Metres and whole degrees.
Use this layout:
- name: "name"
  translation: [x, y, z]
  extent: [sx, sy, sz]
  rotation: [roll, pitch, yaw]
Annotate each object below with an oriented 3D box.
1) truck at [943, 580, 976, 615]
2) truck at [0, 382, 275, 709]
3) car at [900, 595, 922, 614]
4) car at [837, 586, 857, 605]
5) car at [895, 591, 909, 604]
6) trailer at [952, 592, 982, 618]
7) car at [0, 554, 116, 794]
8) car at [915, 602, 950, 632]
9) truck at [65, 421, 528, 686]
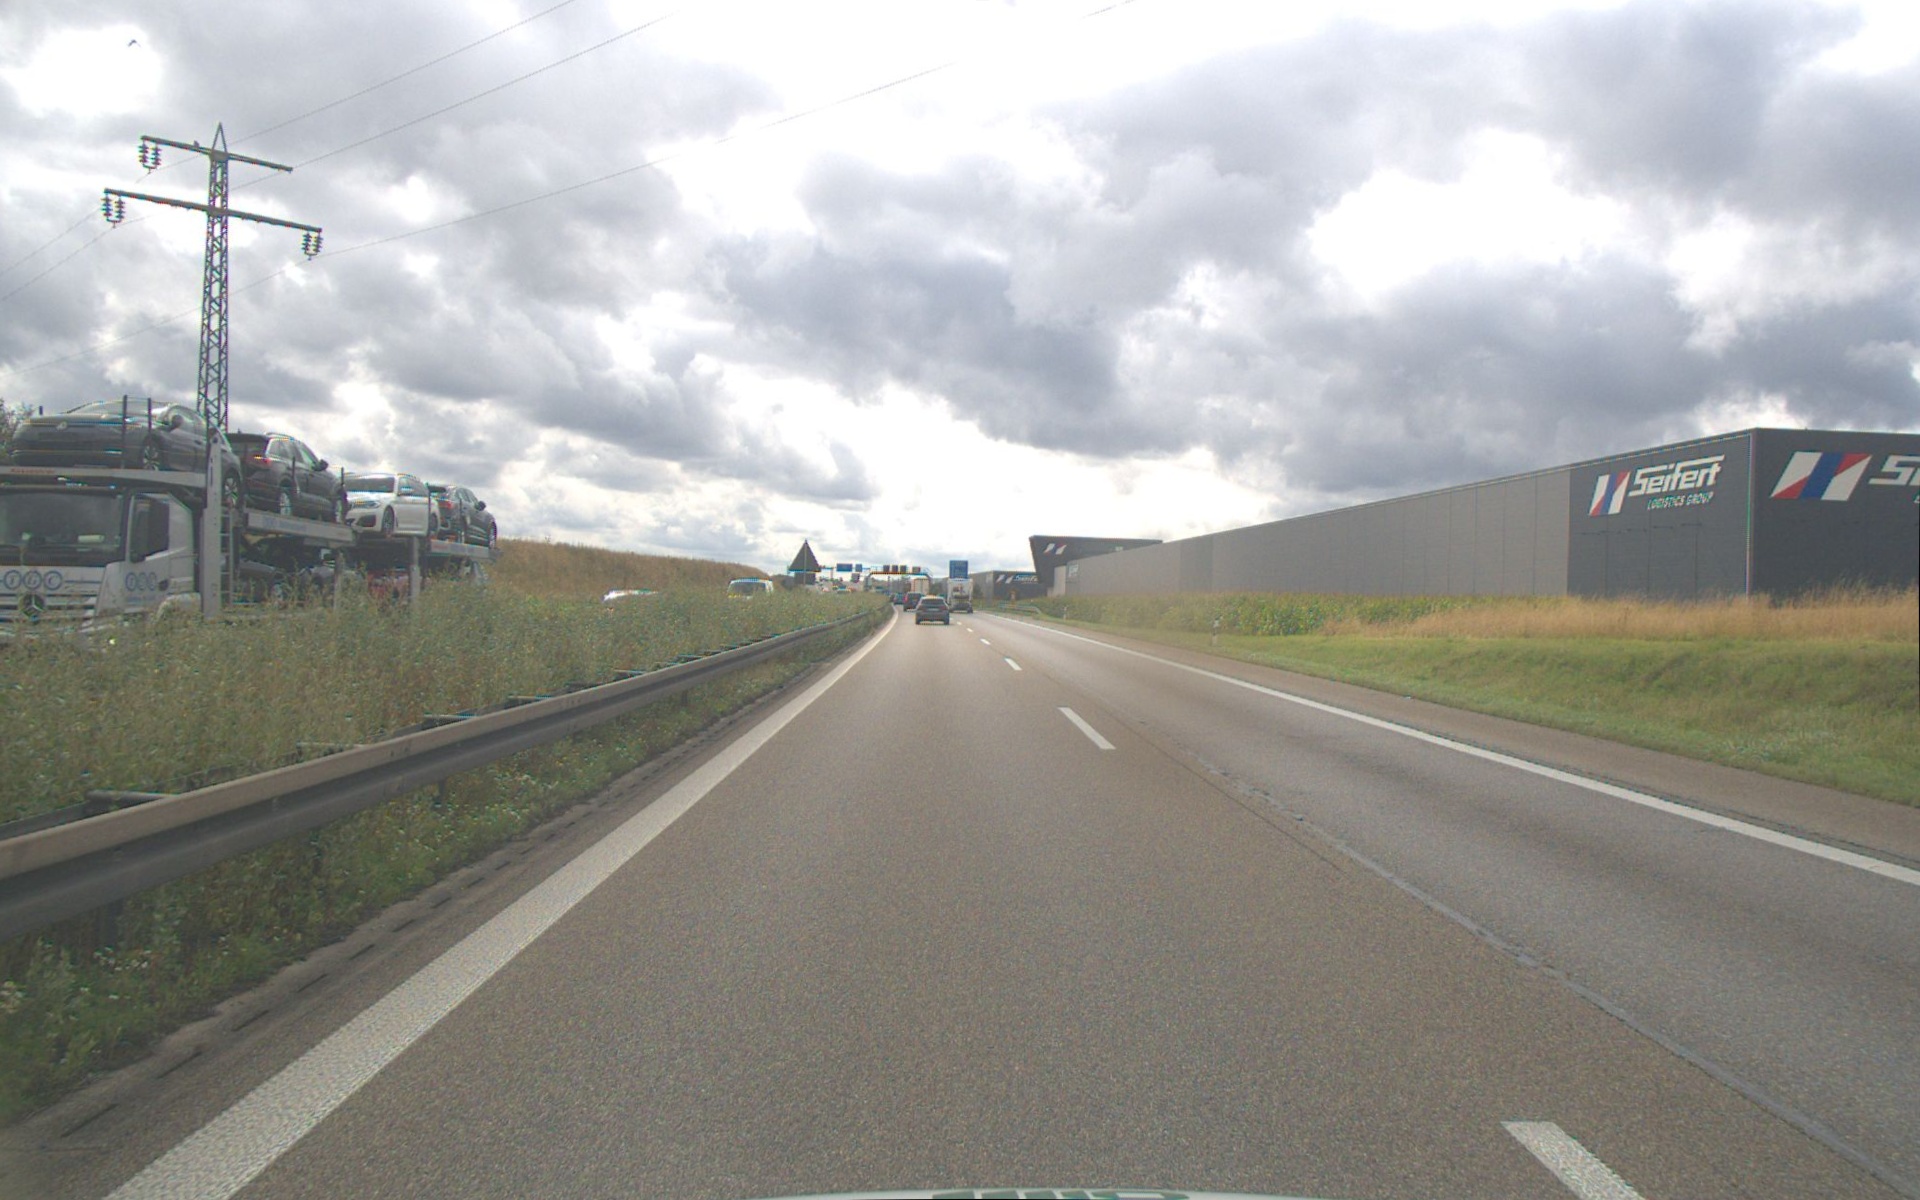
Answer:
- name: "truck"
  translation: [-0.036, -0.194, 148.940]
  extent: [2.433, 3.002, 5.809]
  rotation: [1, 0, -5]
- name: "truck"
  translation: [-12.160, -0.681, 23.201]
  extent: [2.668, 4.005, 5.986]
  rotation: [0, 0, -1]
- name: "car"
  translation: [-4.553, 0.389, 153.074]
  extent: [1.907, 1.714, 3.998]
  rotation: [1, 0, -3]
- name: "car"
  translation: [-12.721, -0.521, 187.009]
  extent: [1.953, 2.049, 5.530]
  rotation: [1, 0, -2]
- name: "car"
  translation: [-8.445, -0.356, 241.001]
  extent: [1.904, 1.806, 3.695]
  rotation: [1, 0, -1]
- name: "trailer"
  translation: [0.598, 0.423, 142.120]
  extent: [2.291, 2.174, 3.998]
  rotation: [1, 0, -3]
- name: "car"
  translation: [-7.718, 0.499, 11.010]
  extent: [1.953, 1.691, 4.301]
  rotation: [1, 0, 0]
- name: "car"
  translation: [-1.452, 0.878, 87.158]
  extent: [1.711, 1.478, 3.998]
  rotation: [1, 0, -3]
- name: "truck"
  translation: [-12.318, -0.730, 33.763]
  extent: [2.667, 4.005, 17.398]
  rotation: [0, 0, -1]
